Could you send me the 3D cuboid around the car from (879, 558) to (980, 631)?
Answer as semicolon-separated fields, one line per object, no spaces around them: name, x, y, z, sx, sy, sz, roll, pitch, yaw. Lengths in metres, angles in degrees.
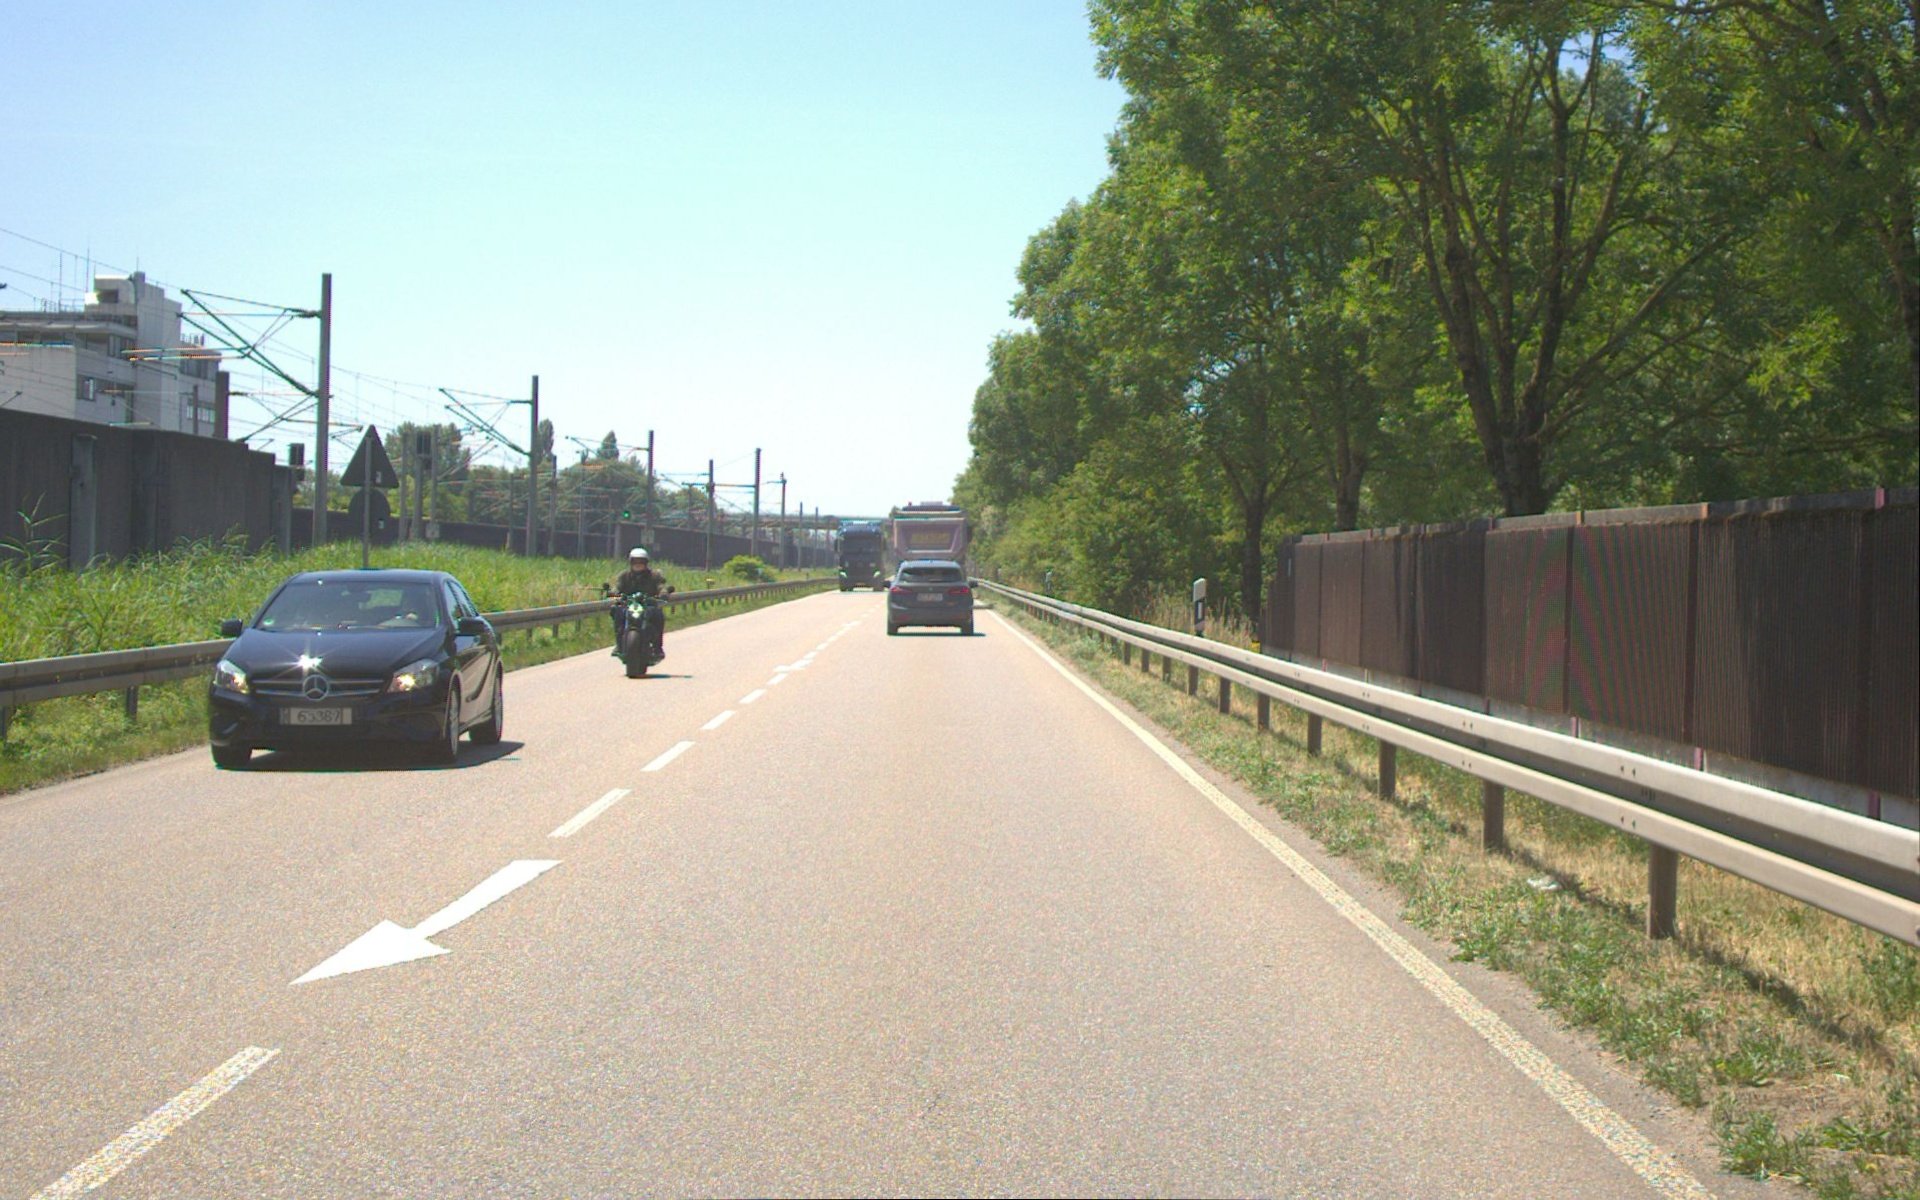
car;-0.673;-0.136;72.934;1.993;1.503;4.000;0;1;-3

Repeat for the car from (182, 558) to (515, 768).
car;-4.629;0.428;26.567;1.993;1.503;4.000;0;1;-2

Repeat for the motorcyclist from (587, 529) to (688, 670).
motorcyclist;-4.294;-0.017;45.851;1.254;1.858;1.245;0;1;-1

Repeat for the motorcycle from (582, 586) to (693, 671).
motorcycle;-4.282;0.361;45.903;1.237;1.069;3.129;0;1;-1

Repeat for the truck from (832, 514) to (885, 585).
truck;-5.865;-2.890;199.743;2.797;3.964;10.500;0;0;0

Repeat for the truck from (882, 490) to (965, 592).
truck;-1.264;-2.014;120.706;2.770;3.414;10.820;1;0;0
